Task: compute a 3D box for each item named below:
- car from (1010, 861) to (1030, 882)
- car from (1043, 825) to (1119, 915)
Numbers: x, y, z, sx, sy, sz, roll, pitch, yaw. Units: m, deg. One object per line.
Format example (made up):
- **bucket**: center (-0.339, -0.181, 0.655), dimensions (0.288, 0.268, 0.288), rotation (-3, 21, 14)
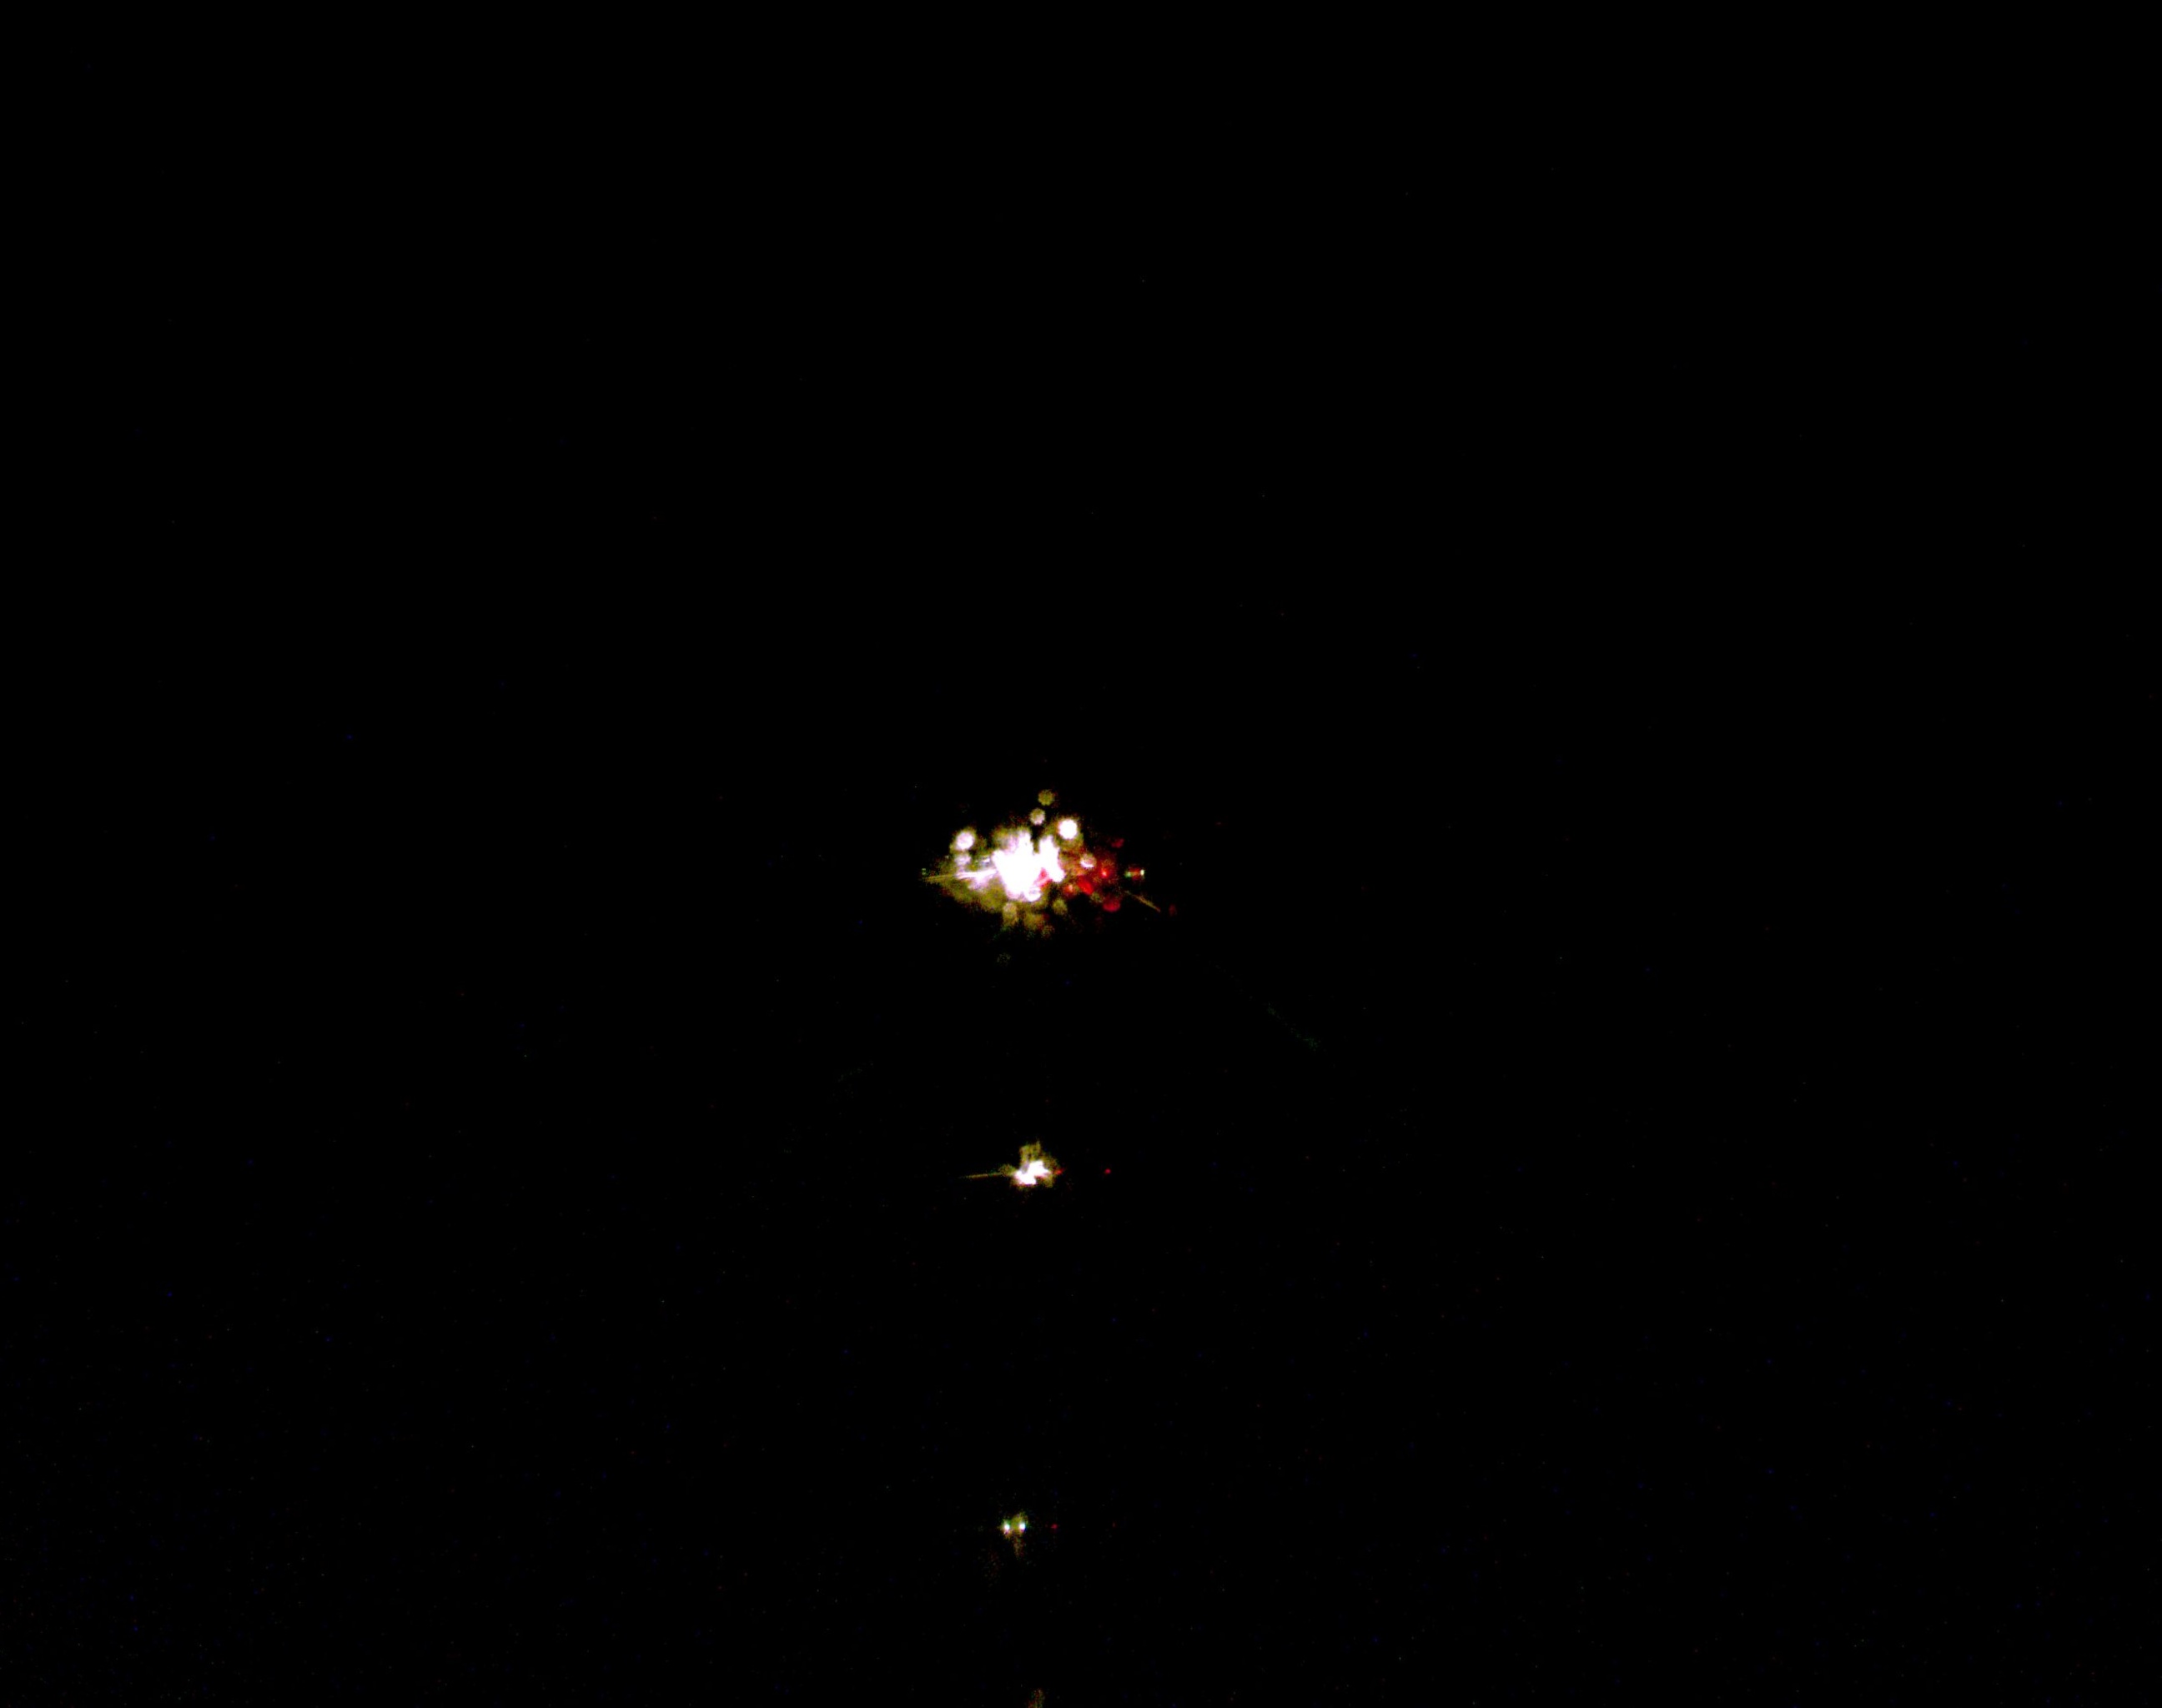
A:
- **car**: center (-6.284, 1.800, 84.292), dimensions (1.990, 2.013, 4.450), rotation (-2, 0, -4)
- **car**: center (-0.048, 0.454, 26.101), dimensions (2.175, 2.557, 4.505), rotation (2, 0, -1)
